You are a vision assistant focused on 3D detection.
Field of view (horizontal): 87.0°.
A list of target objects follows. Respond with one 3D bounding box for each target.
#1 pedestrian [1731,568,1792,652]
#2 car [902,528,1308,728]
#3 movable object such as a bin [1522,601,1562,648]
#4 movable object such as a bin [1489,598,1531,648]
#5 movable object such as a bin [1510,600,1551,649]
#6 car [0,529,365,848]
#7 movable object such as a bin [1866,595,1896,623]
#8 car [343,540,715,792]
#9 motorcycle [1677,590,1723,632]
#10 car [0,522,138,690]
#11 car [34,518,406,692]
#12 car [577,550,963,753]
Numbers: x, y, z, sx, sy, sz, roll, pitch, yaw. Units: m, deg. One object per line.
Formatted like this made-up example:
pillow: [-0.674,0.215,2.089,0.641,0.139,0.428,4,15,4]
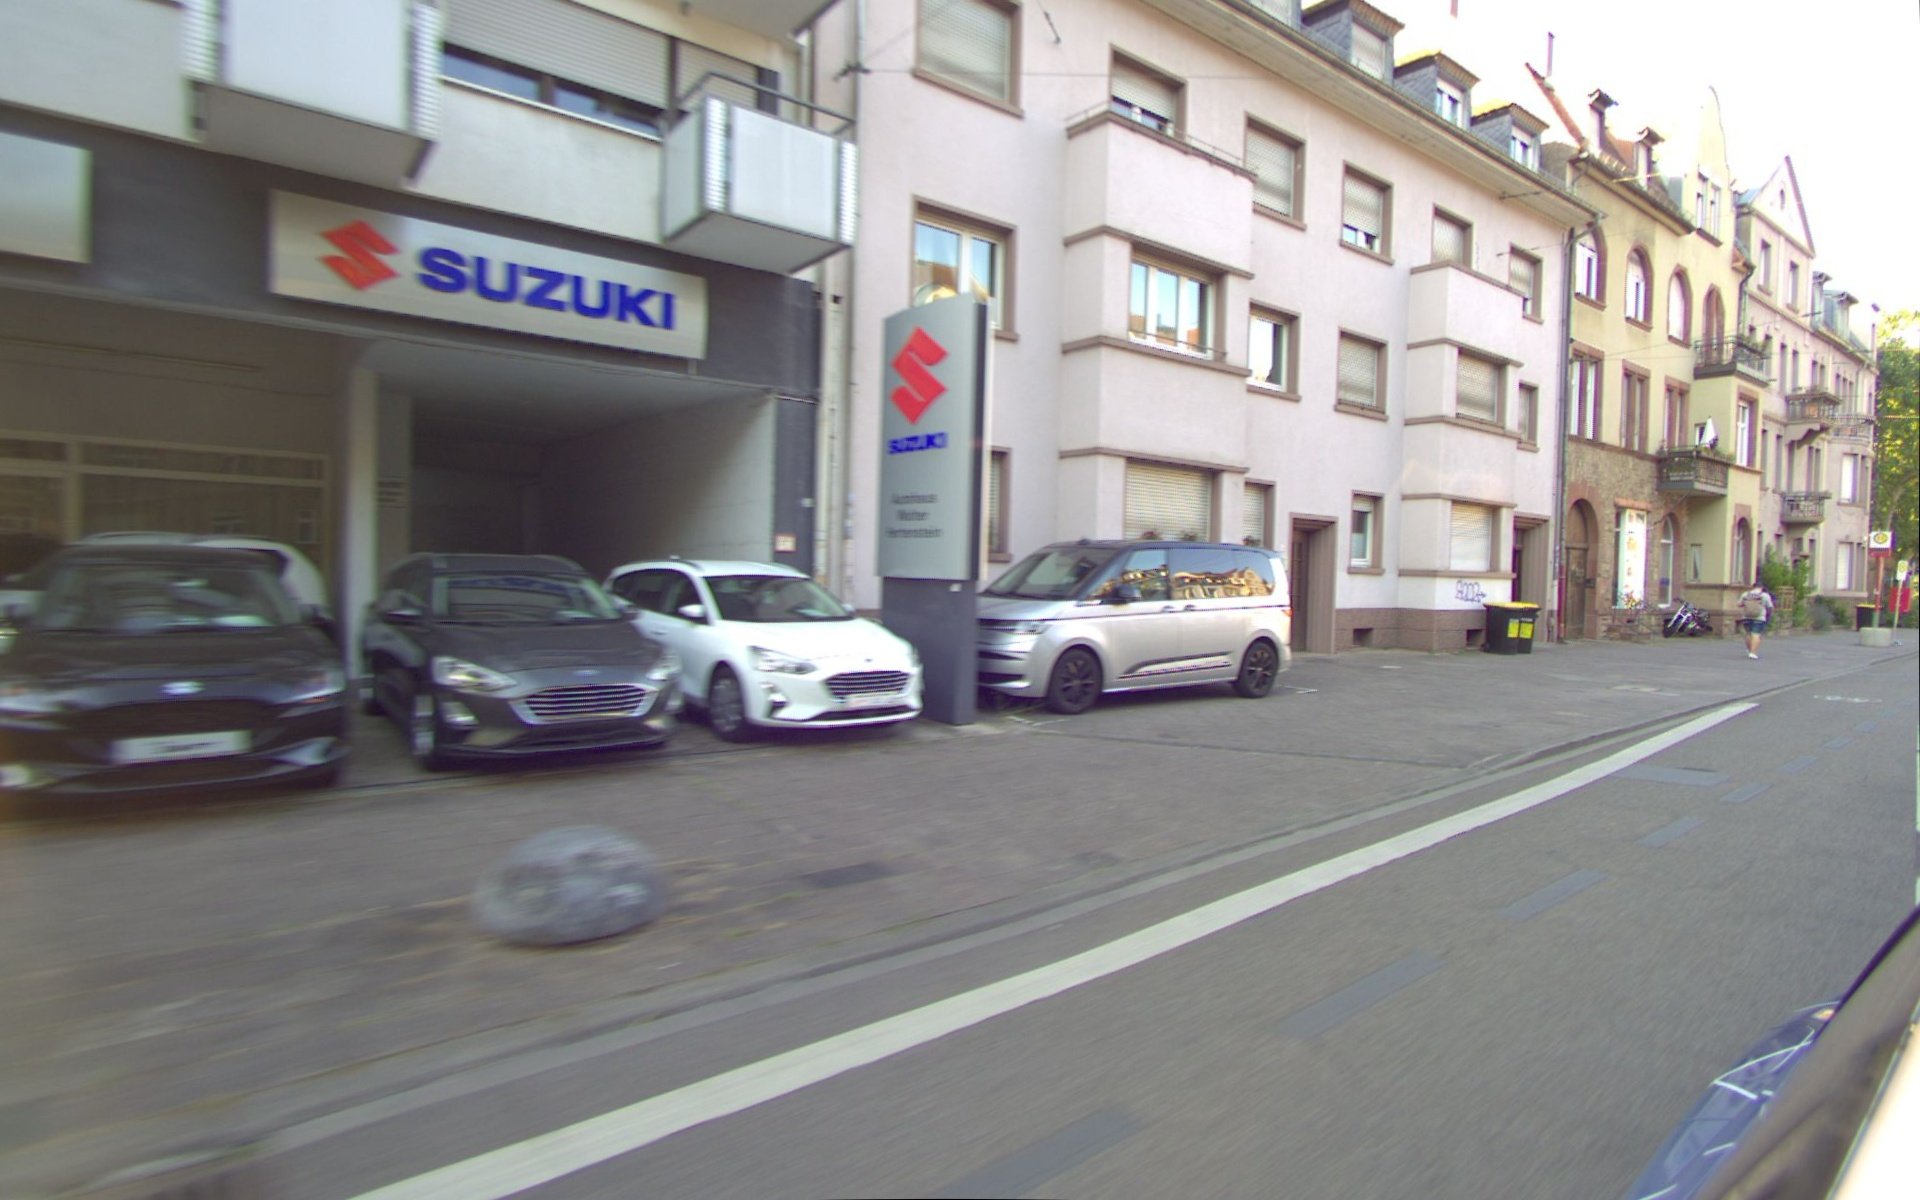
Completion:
pedestrian: [18.323,0.199,23.142,1.130,1.834,0.831,-1,3,-39]
car: [1.848,0.192,12.102,4.808,1.972,1.899,-1,3,-35]
movable object such as a bin: [12.695,0.522,22.086,0.574,0.981,0.555,-1,2,-36]
movable object such as a bin: [11.458,0.470,21.071,0.574,0.981,0.555,-1,2,-36]
movable object such as a bin: [12.128,0.514,21.518,0.574,0.981,0.555,-1,2,-36]
car: [-5.080,0.358,6.675,1.708,1.544,3.430,0,2,-35]
movable object such as a bin: [36.142,0.346,39.707,0.645,1.059,0.659,0,2,-25]
car: [-3.675,0.327,8.214,1.776,1.532,3.878,1,2,-39]
motorcycle: [22.110,0.303,30.207,2.462,1.151,0.590,-2,3,-42]
car: [-9.864,0.050,9.309,1.581,1.582,3.522,1,2,5]
car: [-7.850,-0.015,11.132,1.478,1.582,3.345,1,2,5]
car: [-1.963,0.329,9.654,1.881,1.519,3.817,1,1,-42]
